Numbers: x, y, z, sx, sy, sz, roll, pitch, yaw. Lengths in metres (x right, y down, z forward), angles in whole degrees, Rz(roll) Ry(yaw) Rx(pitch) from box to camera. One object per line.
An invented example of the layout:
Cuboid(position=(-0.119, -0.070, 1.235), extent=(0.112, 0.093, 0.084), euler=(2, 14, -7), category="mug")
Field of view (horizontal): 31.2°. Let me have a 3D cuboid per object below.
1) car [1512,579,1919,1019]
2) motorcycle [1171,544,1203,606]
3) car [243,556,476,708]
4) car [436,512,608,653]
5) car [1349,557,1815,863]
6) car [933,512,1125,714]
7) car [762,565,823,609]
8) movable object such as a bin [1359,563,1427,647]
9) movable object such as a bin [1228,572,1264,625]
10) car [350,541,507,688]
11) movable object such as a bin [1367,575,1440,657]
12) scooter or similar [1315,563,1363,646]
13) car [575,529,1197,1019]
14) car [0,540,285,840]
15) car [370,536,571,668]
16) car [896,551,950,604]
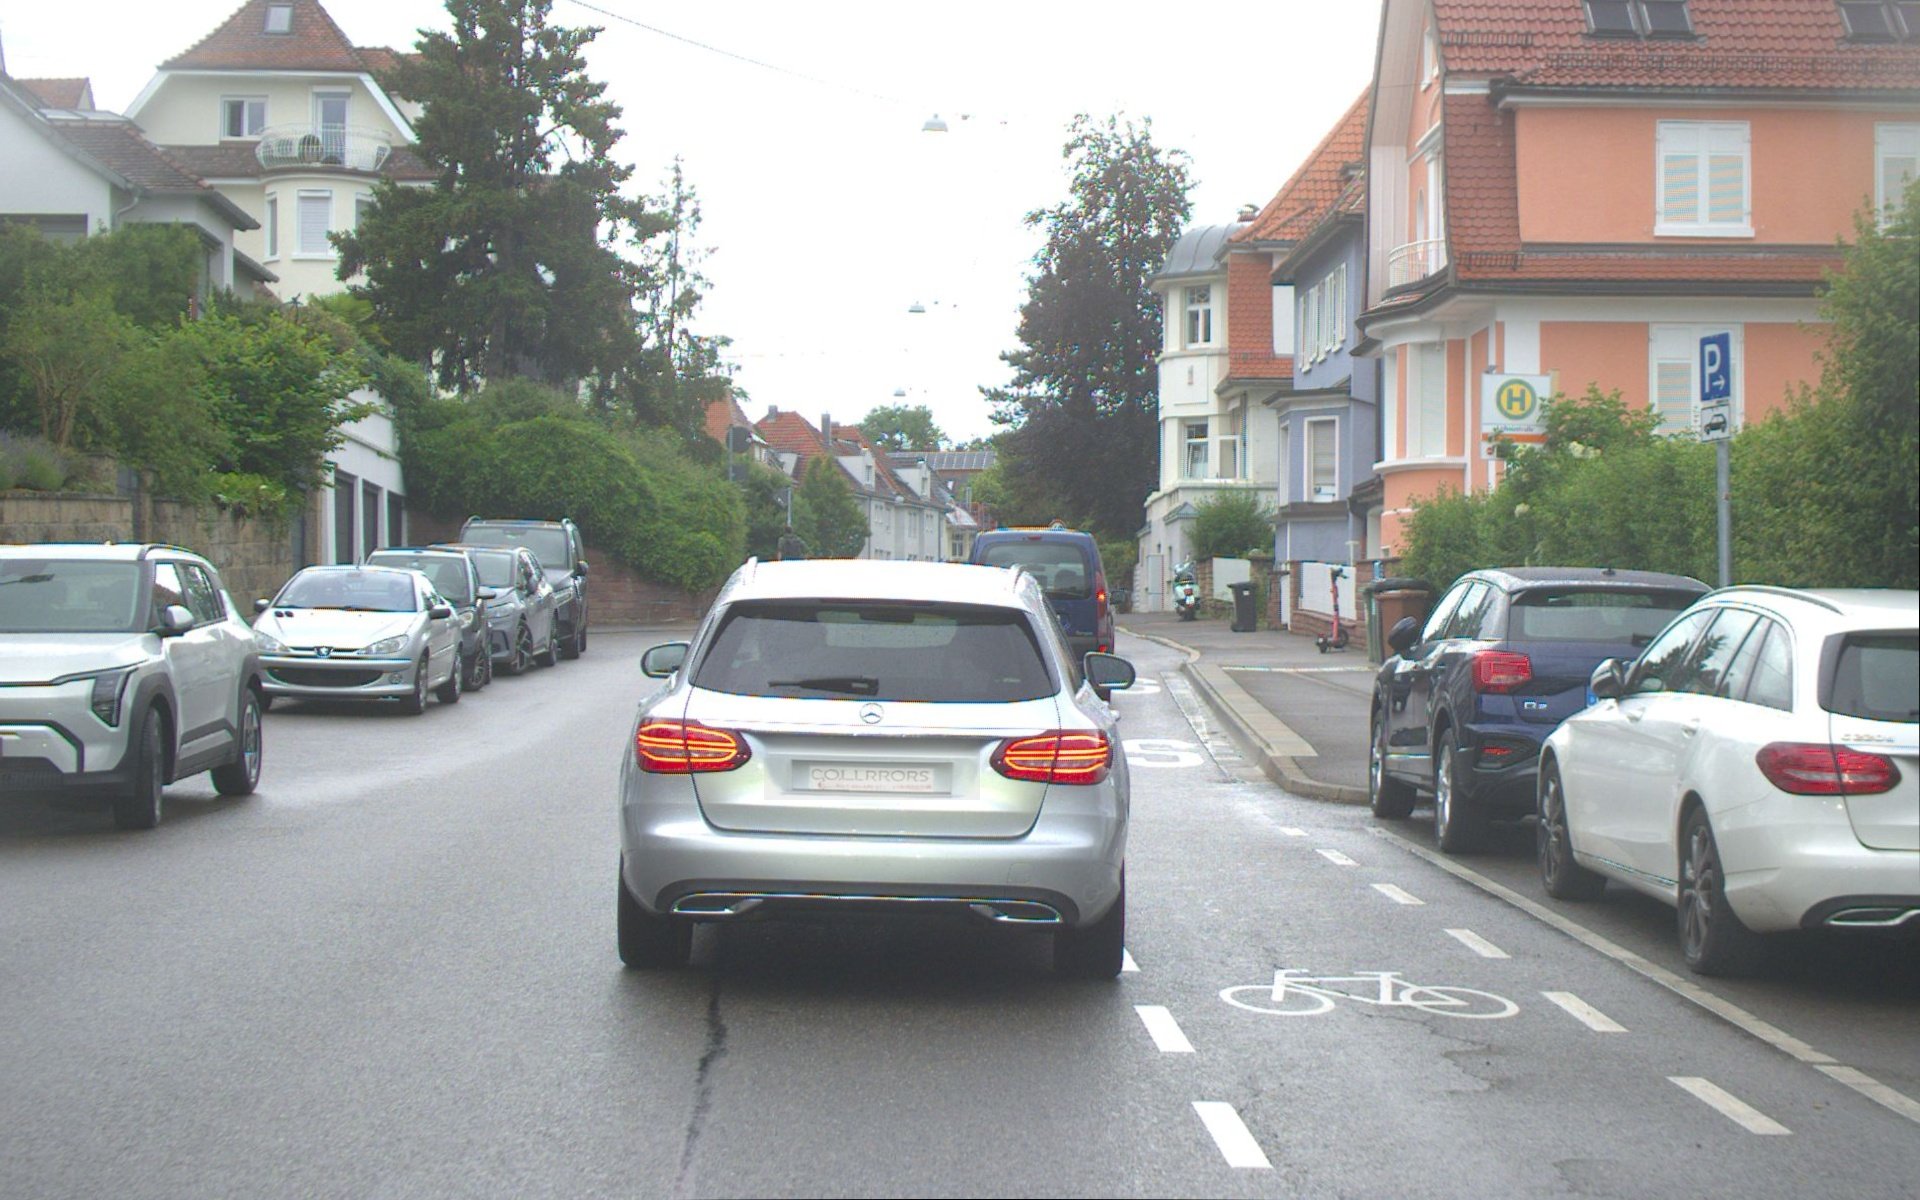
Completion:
Cuboid(position=(3.515, 0.659, 13.898), extent=(1.713, 1.400, 4.608), euler=(0, 1, -1), category="car")
Cuboid(position=(4.815, -0.537, 73.027), extent=(0.582, 1.257, 2.331), euler=(-2, 1, 2), category="motorcycle")
Cuboid(position=(-5.728, 0.267, 33.158), extent=(1.609, 1.333, 3.841), euler=(0, 1, -1), category="car")
Cuboid(position=(-6.104, -0.293, 48.484), extent=(2.129, 1.853, 5.595), euler=(1, 1, -5), category="car")
Cuboid(position=(3.365, 0.528, 19.380), extent=(1.754, 1.525, 4.206), euler=(0, 1, -1), category="car")
Cuboid(position=(0.759, 0.085, 36.832), extent=(1.824, 1.876, 4.095), euler=(-4, 2, 2), category="car")
Cuboid(position=(-5.945, -0.475, 122.305), extent=(2.117, 1.466, 4.017), euler=(0, 1, -2), category="car")
Cuboid(position=(5.504, 0.060, 43.758), extent=(0.711, 1.026, 0.757), euler=(-2, 1, -2), category="movable object such as a bin")
Cuboid(position=(5.269, -0.032, 63.334), extent=(0.549, 0.932, 0.634), euler=(-3, 1, 0), category="movable object such as a bin")
Cuboid(position=(-5.805, 0.122, 37.805), extent=(1.496, 1.518, 3.160), euler=(0, 1, -5), category="car")
Cuboid(position=(5.392, 0.192, 41.809), extent=(0.569, 0.965, 0.670), euler=(0, 1, -33), category="movable object such as a bin")
Cuboid(position=(5.668, 0.061, 51.434), extent=(0.693, 1.220, 1.299), euler=(0, 1, 7), category="scooter or similar")
Cuboid(position=(-0.219, 0.516, 13.209), extent=(1.982, 1.548, 4.298), euler=(1, 1, 1), category="car")
Cuboid(position=(-5.346, 0.452, 20.360), extent=(1.898, 1.562, 4.238), euler=(-1, 1, -1), category="car")
Cuboid(position=(-5.984, -0.017, 42.474), extent=(1.898, 1.510, 4.343), euler=(1, 1, -1), category="car")
Cuboid(position=(-1.821, -1.132, 169.628), extent=(2.467, 2.391, 4.000), euler=(-3, 1, -1), category="car")
